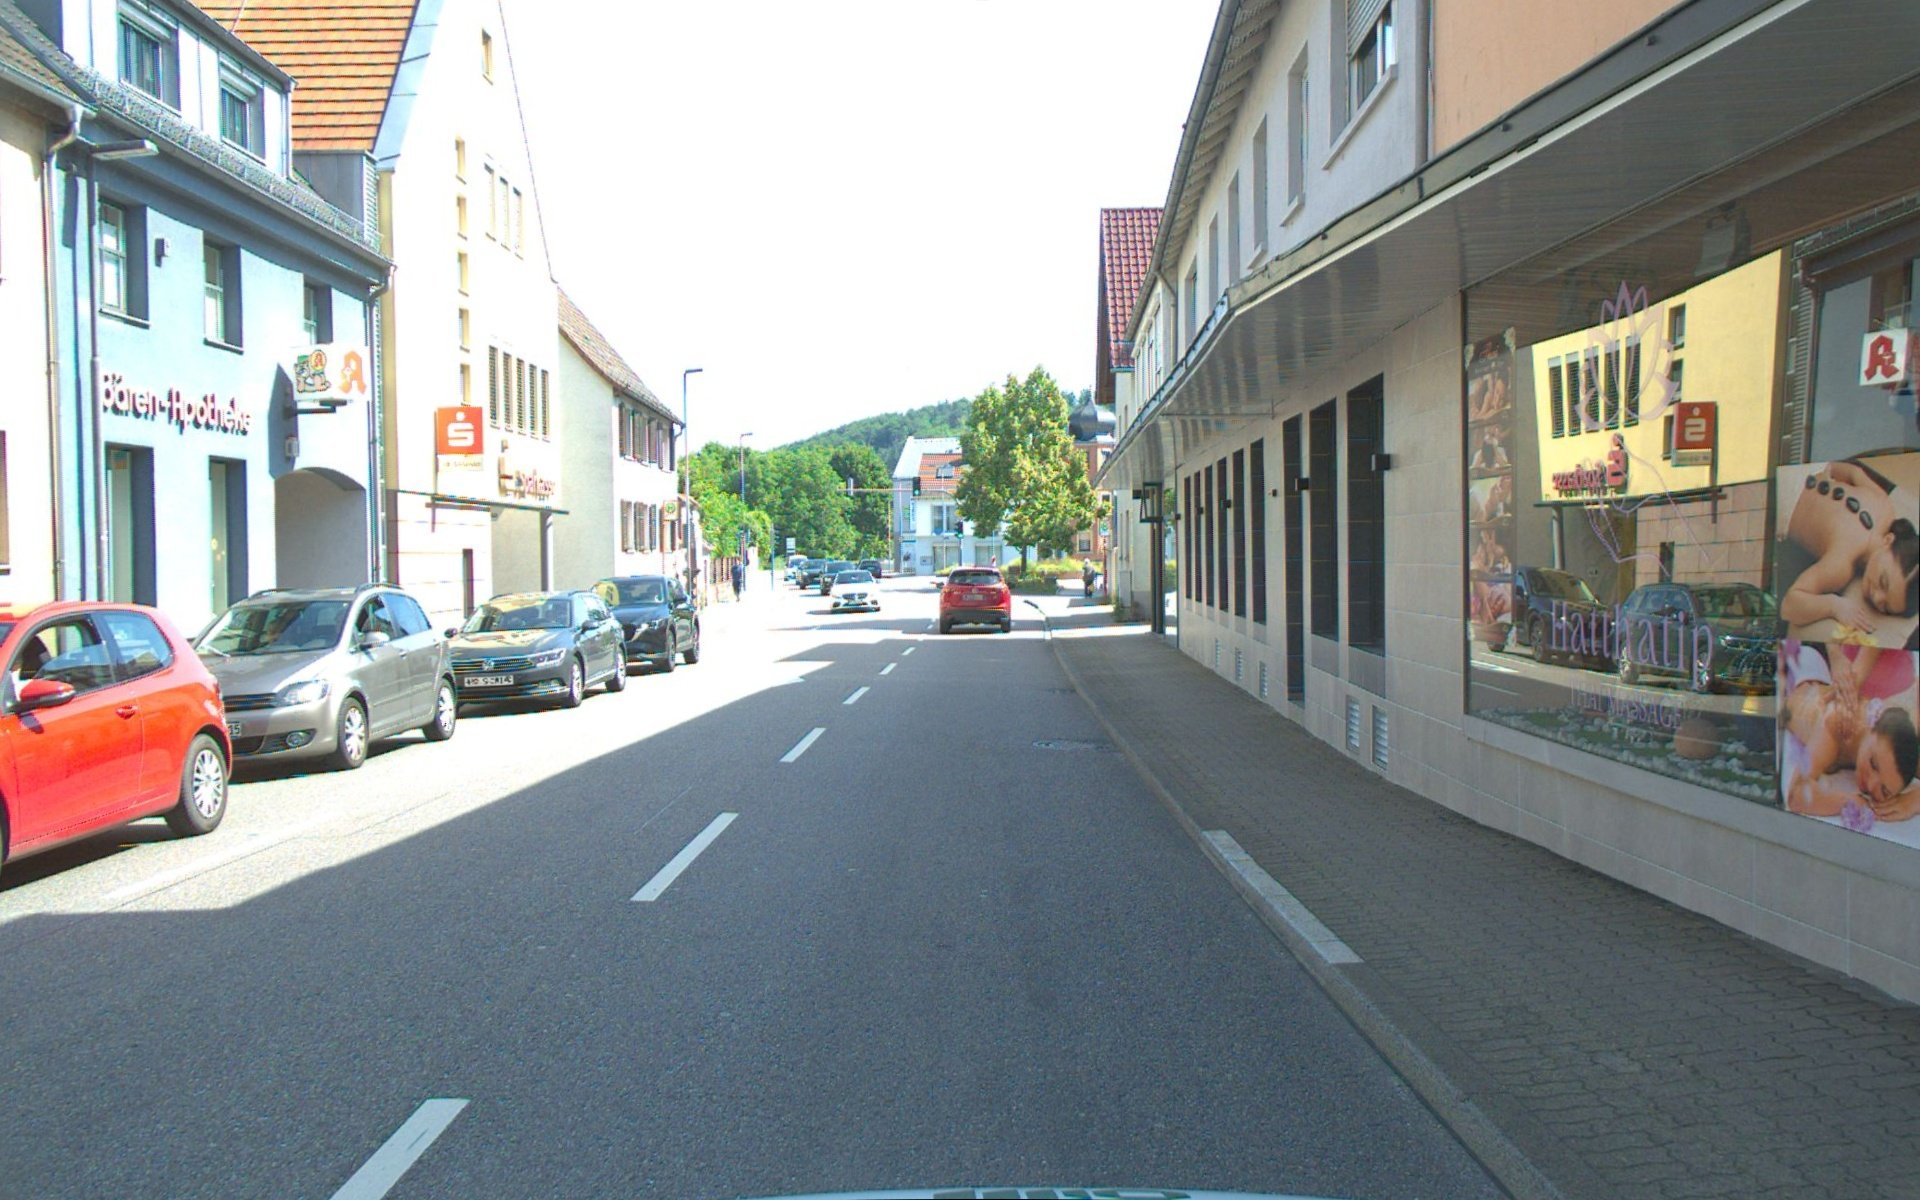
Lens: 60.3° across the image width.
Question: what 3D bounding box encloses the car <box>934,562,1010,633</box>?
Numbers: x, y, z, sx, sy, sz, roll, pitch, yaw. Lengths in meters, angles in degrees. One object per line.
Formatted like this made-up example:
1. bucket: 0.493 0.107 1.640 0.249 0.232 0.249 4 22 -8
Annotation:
1. car: 0.358 -0.088 42.708 1.820 1.744 4.424 0 1 2

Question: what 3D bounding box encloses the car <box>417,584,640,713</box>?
1. car: -5.613 0.557 22.089 1.752 1.476 4.424 -2 1 0

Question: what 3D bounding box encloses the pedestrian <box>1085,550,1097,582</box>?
1. pedestrian: 8.036 -2.098 101.443 0.630 1.912 0.652 -1 -1 -5

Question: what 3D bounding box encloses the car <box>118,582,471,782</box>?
1. car: -5.953 0.639 15.334 1.596 1.546 4.019 -2 1 0

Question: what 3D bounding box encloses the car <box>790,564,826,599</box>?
1. car: -8.762 -1.048 95.700 1.738 1.816 3.838 -1 -1 -1

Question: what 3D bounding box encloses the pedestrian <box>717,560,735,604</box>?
1. pedestrian: -10.062 -0.754 71.125 0.652 1.856 0.798 -1 -1 -5

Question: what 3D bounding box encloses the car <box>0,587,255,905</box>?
1. car: -5.511 0.728 8.871 1.723 1.518 4.075 -2 1 -1

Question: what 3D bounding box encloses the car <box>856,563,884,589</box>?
1. car: -7.023 -1.859 129.302 1.892 1.825 3.956 -2 -1 1

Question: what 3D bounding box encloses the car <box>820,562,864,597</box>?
1. car: -5.899 -1.053 82.898 1.801 1.559 4.254 -1 3 1

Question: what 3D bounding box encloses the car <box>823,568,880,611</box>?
1. car: -3.938 -0.407 60.773 1.948 1.469 5.098 -2 1 -3

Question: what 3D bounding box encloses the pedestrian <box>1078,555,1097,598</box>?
1. pedestrian: 5.225 -0.956 67.816 0.630 1.737 0.699 -1 -1 -5

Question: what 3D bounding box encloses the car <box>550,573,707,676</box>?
1. car: -5.809 0.378 29.492 1.829 1.617 4.518 -2 1 0
